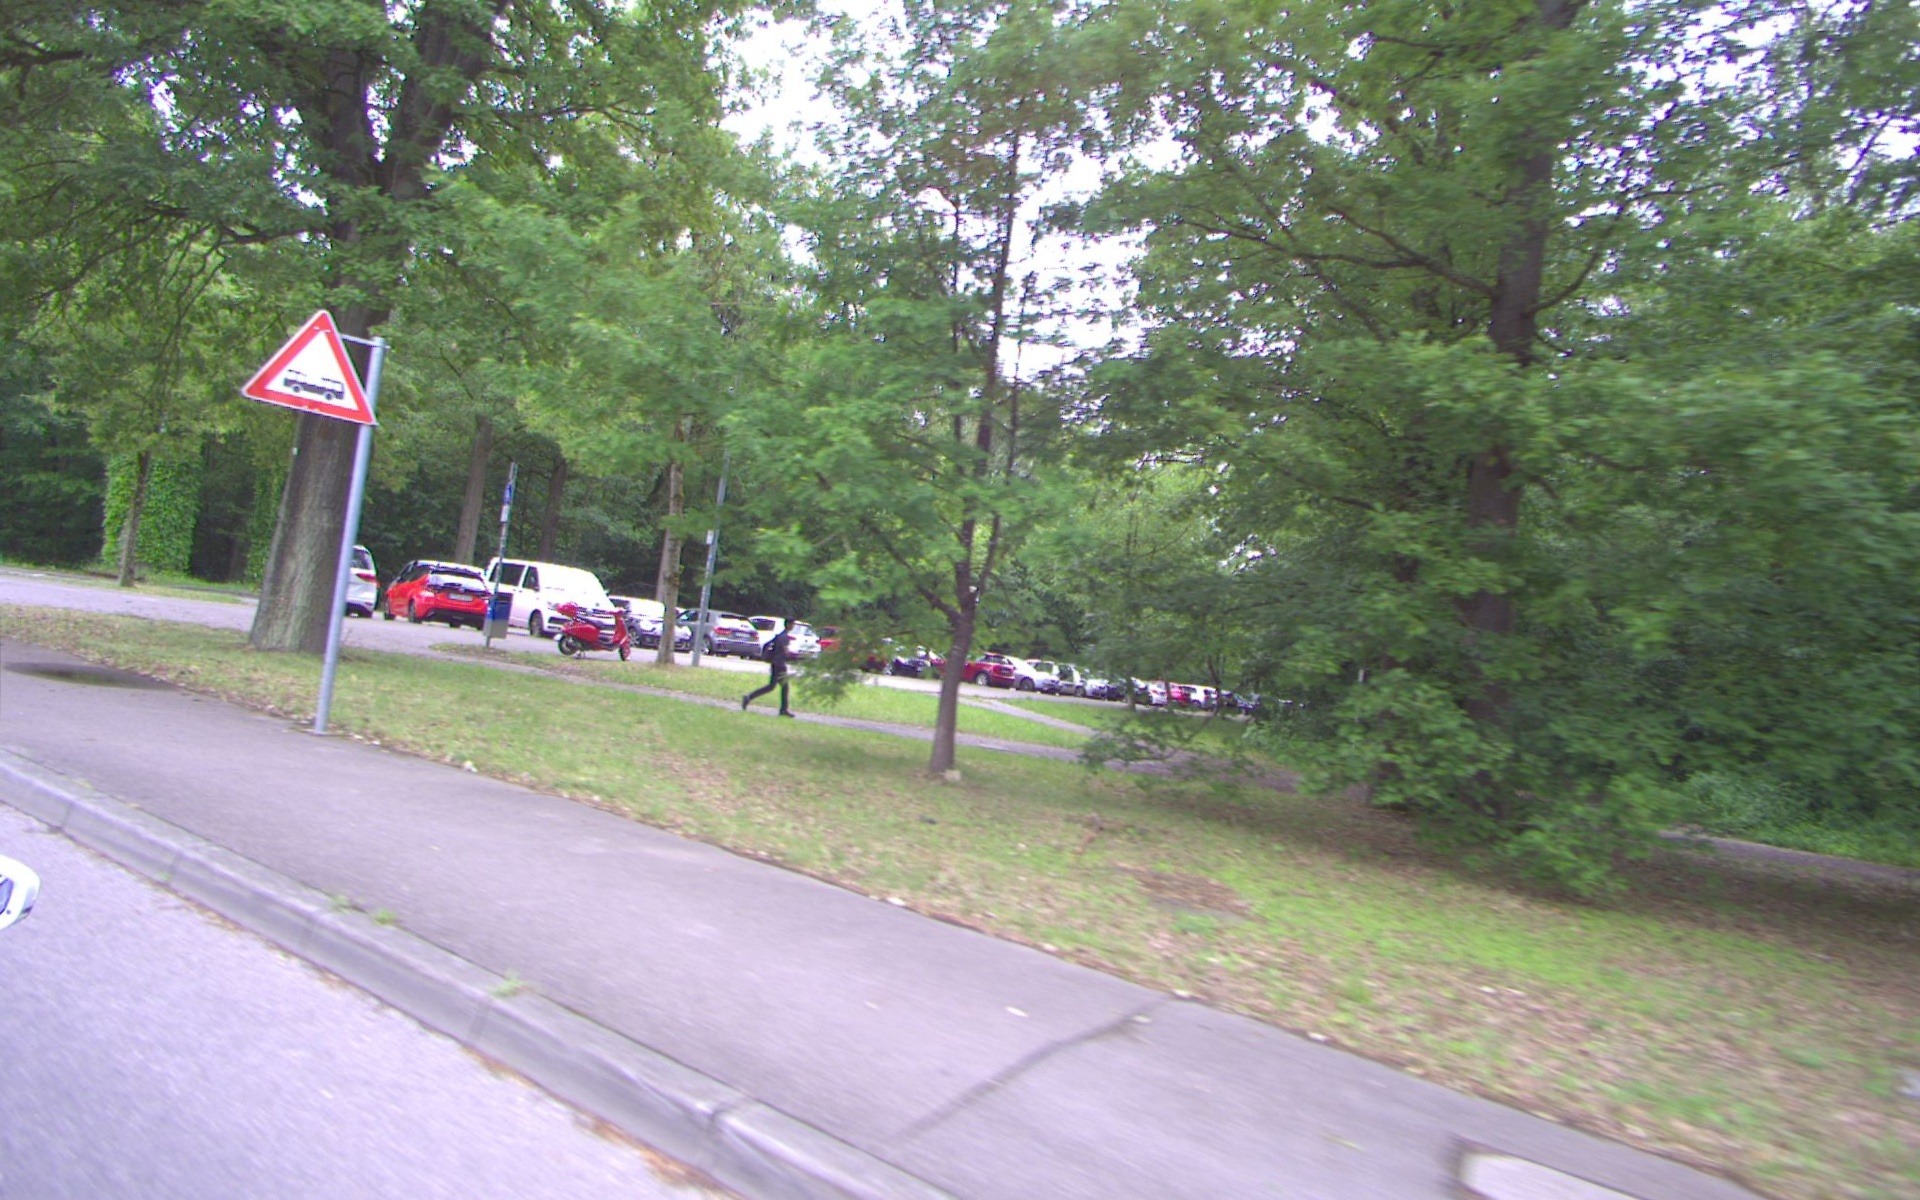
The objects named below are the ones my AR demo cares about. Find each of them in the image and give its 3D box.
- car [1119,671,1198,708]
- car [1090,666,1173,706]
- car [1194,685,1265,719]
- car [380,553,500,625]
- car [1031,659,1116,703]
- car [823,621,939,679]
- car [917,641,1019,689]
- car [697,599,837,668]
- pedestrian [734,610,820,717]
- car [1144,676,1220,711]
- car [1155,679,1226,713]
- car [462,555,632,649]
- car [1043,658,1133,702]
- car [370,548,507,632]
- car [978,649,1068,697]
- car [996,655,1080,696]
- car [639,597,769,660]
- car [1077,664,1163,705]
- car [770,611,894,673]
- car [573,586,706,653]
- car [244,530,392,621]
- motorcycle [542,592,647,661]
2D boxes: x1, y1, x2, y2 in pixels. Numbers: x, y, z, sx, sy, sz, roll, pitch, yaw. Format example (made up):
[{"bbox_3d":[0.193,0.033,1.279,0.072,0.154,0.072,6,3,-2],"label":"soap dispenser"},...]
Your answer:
[{"bbox_3d":[10.740,4.842,54.499,3.715,1.444,1.653,6,-3,38],"label":"car"},{"bbox_3d":[8.818,4.415,51.869,3.715,1.444,1.753,6,-3,38],"label":"car"},{"bbox_3d":[18.377,6.955,68.679,4.180,1.669,2.000,7,-3,29],"label":"car"},{"bbox_3d":[-17.967,-0.414,34.647,4.884,1.899,1.992,6,-3,43],"label":"car"},{"bbox_3d":[5.085,3.613,45.033,3.332,1.457,1.518,6,-3,37],"label":"car"},{"bbox_3d":[-2.828,1.750,35.613,4.016,1.473,1.756,5,-4,45],"label":"car"},{"bbox_3d":[0.295,2.542,39.541,3.719,1.280,1.615,6,-3,39],"label":"car"},{"bbox_3d":[-6.155,1.032,31.816,4.470,1.575,1.837,6,-3,42],"label":"car"},{"bbox_3d":[-3.149,1.099,17.358,1.016,1.669,0.835,8,-2,11],"label":"pedestrian"},{"bbox_3d":[12.878,5.426,58.320,3.867,1.444,1.656,7,-3,31],"label":"car"},{"bbox_3d":[13.875,5.772,60.535,3.766,1.444,1.658,7,-3,27],"label":"car"},{"bbox_3d":[-10.887,0.000,26.310,5.118,1.978,2.054,3,-5,45],"label":"car"},{"bbox_3d":[6.028,3.765,47.504,3.715,1.444,1.753,6,-3,38],"label":"car"},{"bbox_3d":[-12.667,-0.269,24.313,1.883,1.569,3.954,10,-3,-41],"label":"car"},{"bbox_3d":[2.566,2.993,41.180,3.235,1.445,1.514,6,-3,39],"label":"car"},{"bbox_3d":[3.369,3.264,43.587,3.235,1.276,1.514,6,-3,39],"label":"car"},{"bbox_3d":[-7.689,0.821,30.034,4.076,1.339,1.811,5,-4,45],"label":"car"},{"bbox_3d":[7.893,4.161,49.720,3.715,1.444,1.753,6,-3,38],"label":"car"},{"bbox_3d":[-4.341,1.381,33.674,4.146,1.512,1.811,5,-4,45],"label":"car"},{"bbox_3d":[-9.010,0.524,28.108,3.883,1.342,1.715,6,-4,43],"label":"car"},{"bbox_3d":[-14.440,-0.599,22.527,1.988,1.569,4.370,10,-4,-41],"label":"car"},{"bbox_3d":[-7.748,0.582,21.407,0.582,1.217,1.951,6,-3,40],"label":"motorcycle"}]
